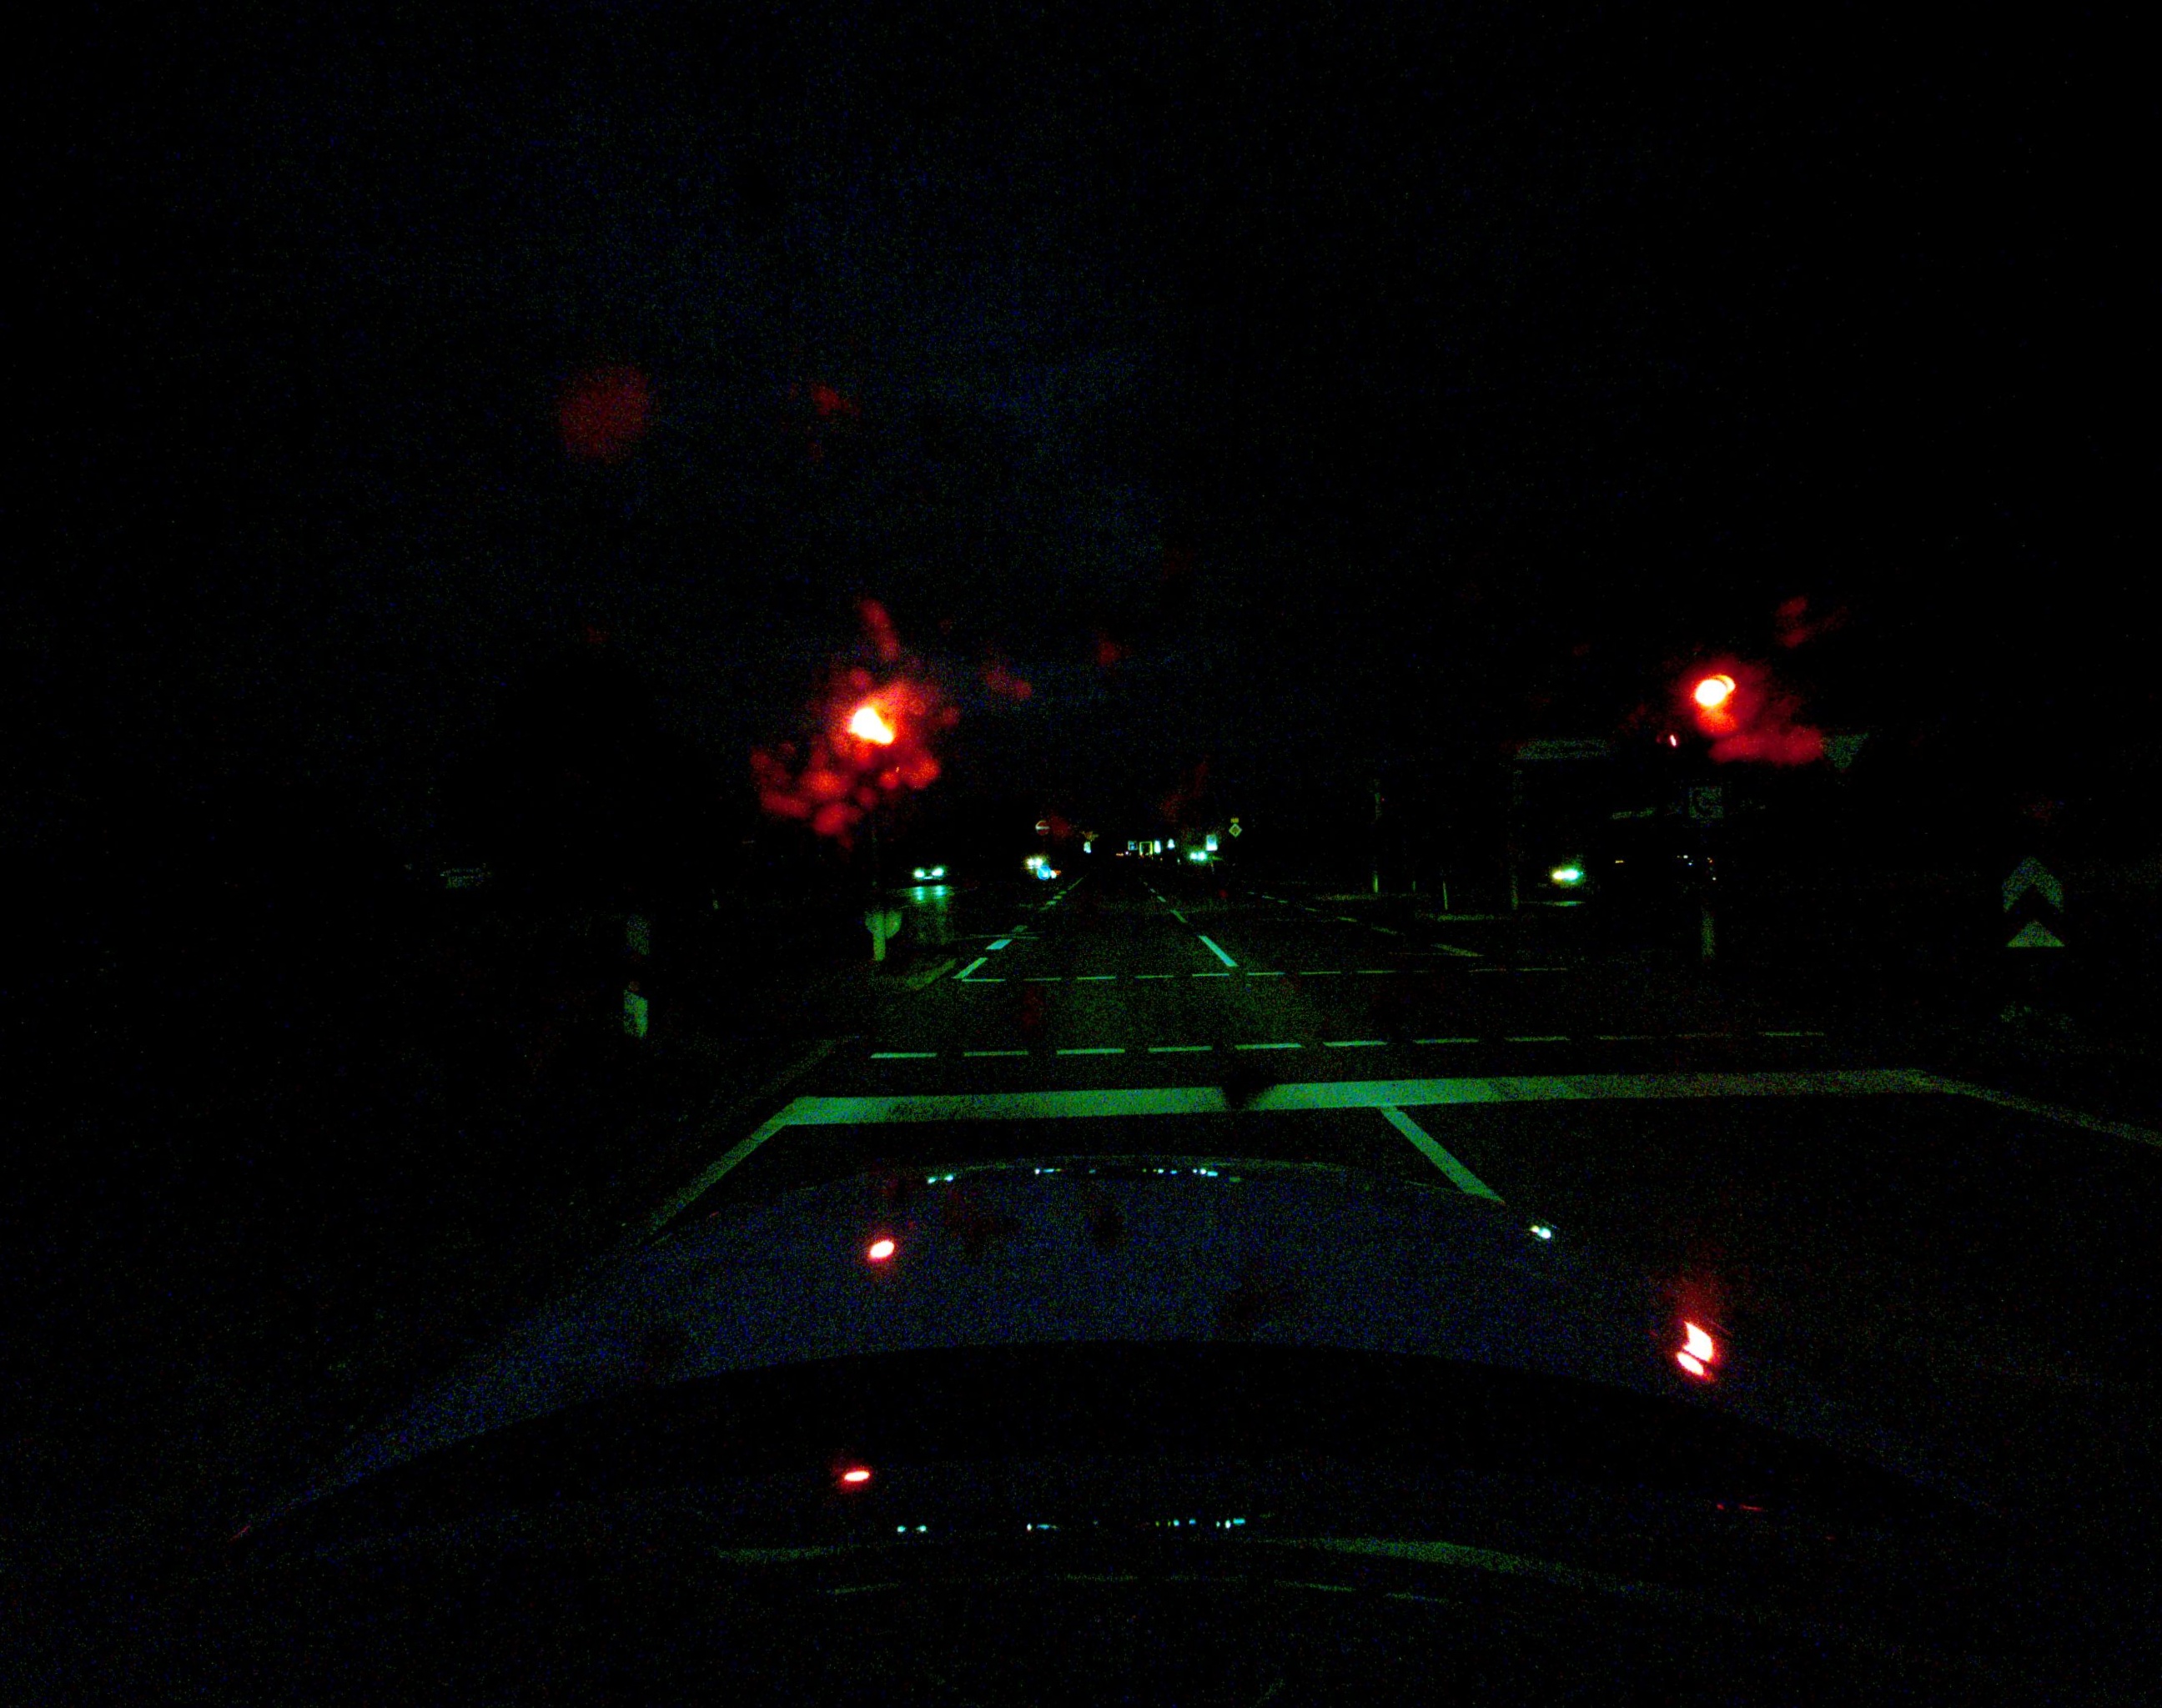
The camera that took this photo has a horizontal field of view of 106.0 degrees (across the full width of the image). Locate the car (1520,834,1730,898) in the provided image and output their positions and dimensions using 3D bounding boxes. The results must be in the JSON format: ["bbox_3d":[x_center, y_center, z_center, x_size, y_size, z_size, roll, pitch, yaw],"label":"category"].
[{"bbox_3d":[15.419,0.335,23.289,4.583,1.520,2.001,-3,0,2],"label":"car"}]

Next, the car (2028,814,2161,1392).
[{"bbox_3d":[3.561,0.642,0.348,1.663,1.520,4.109,-1,0,3],"label":"car"}]

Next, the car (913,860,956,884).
[{"bbox_3d":[-10.102,1.216,56.360,1.986,1.519,4.299,-2,0,2],"label":"car"}]

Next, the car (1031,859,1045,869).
[{"bbox_3d":[-7.111,1.644,135.129,1.986,1.387,4.002,-2,0,2],"label":"car"}]
